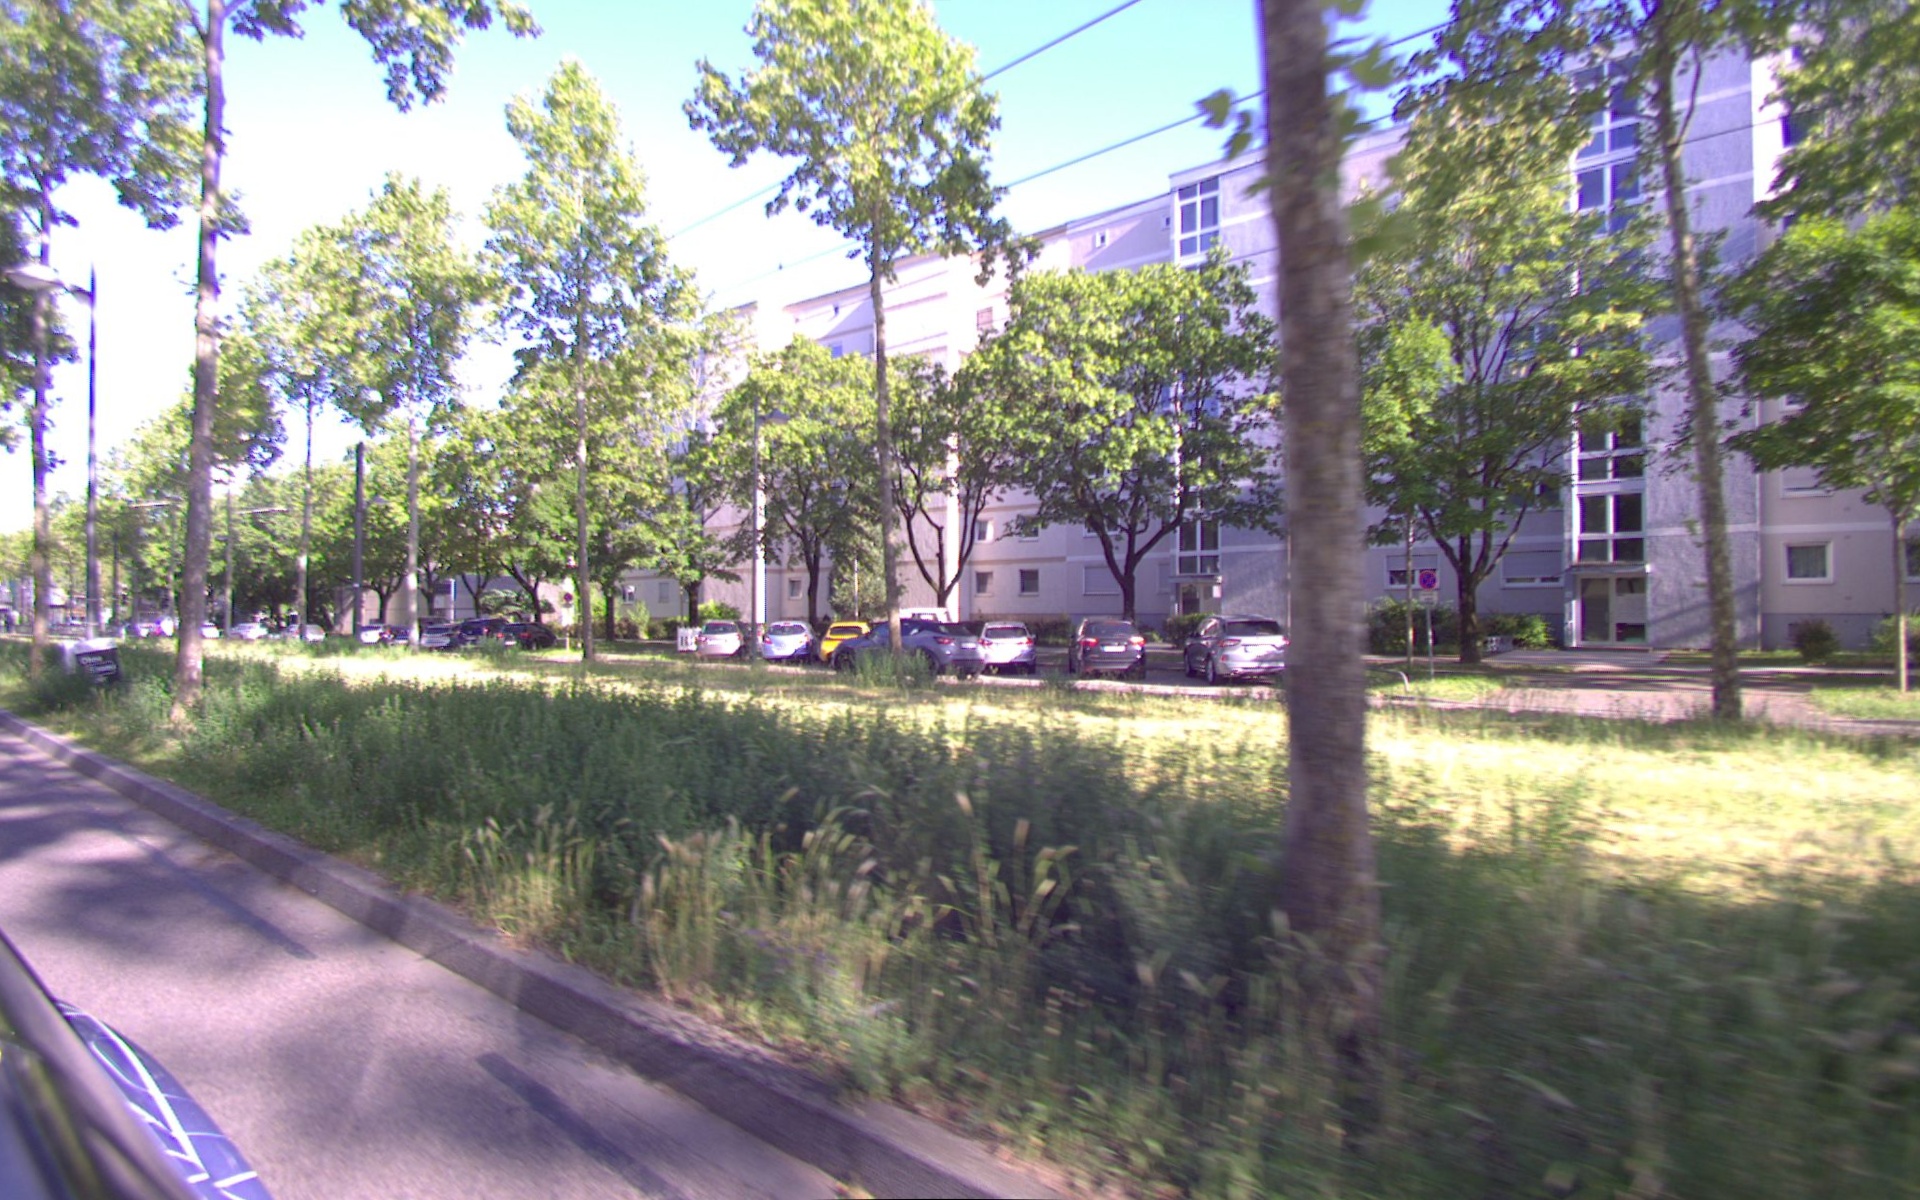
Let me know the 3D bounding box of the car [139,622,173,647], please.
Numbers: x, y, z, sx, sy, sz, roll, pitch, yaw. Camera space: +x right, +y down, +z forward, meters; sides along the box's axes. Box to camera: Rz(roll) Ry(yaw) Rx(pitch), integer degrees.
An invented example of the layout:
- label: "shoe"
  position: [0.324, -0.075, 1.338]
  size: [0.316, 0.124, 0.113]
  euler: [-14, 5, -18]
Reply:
- label: "car"
  position: [-73.829, 3.163, 92.870]
  size: [3.931, 2.279, 1.696]
  euler: [-2, -2, 41]

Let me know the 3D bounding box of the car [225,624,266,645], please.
- label: "car"
  position: [-55.326, 2.649, 78.328]
  size: [4.199, 1.557, 1.695]
  euler: [-2, -3, 42]

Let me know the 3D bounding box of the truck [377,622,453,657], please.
- label: "truck"
  position: [-30.272, 2.165, 56.347]
  size: [1.631, 1.788, 4.078]
  euler: [3, -1, 5]

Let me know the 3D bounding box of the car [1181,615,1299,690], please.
- label: "car"
  position: [6.676, 1.236, 24.559]
  size: [1.970, 1.619, 4.079]
  euler: [-2, -2, 5]

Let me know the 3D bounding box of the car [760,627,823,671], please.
- label: "car"
  position: [-5.964, 1.700, 36.184]
  size: [1.628, 1.494, 4.085]
  euler: [0, -2, -1]

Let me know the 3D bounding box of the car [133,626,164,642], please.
- label: "car"
  position: [-77.102, 3.209, 96.181]
  size: [4.017, 1.500, 1.577]
  euler: [-2, -2, 41]

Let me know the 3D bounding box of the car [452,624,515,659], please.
- label: "car"
  position: [-24.582, 2.157, 52.353]
  size: [1.626, 1.658, 4.089]
  euler: [-3, -2, -5]

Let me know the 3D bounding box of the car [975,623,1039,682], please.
- label: "car"
  position: [1.462, 1.498, 30.032]
  size: [1.560, 1.443, 4.077]
  euler: [-2, 0, 7]

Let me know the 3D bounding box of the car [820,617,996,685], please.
- label: "car"
  position: [-1.313, 1.238, 24.626]
  size: [4.082, 1.518, 1.904]
  euler: [-2, -4, 40]

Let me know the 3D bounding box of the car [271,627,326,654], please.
- label: "car"
  position: [-37.908, 2.288, 57.938]
  size: [3.847, 1.497, 1.629]
  euler: [-1, -2, 41]

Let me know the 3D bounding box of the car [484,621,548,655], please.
- label: "car"
  position: [-21.861, 1.868, 49.964]
  size: [1.626, 1.487, 4.090]
  euler: [-4, -1, -6]

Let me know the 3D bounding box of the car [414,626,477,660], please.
- label: "car"
  position: [-27.440, 2.267, 54.099]
  size: [1.626, 1.658, 4.090]
  euler: [1, -2, -6]

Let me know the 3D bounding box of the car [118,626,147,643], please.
- label: "car"
  position: [-82.494, 3.416, 100.840]
  size: [3.928, 1.648, 1.577]
  euler: [-2, -2, 41]

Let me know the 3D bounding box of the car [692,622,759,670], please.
- label: "car"
  position: [-8.701, 1.685, 37.869]
  size: [1.628, 1.658, 4.085]
  euler: [-1, -2, -1]

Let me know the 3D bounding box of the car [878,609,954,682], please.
- label: "car"
  position: [-1.263, 1.350, 31.125]
  size: [1.867, 2.022, 4.794]
  euler: [-2, -2, 3]

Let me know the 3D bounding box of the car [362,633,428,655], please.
- label: "car"
  position: [-33.349, 2.574, 59.842]
  size: [1.814, 1.256, 3.826]
  euler: [0, -2, -1]

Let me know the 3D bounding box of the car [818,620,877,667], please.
- label: "car"
  position: [-3.738, 1.444, 34.157]
  size: [1.557, 1.443, 4.085]
  euler: [1, -2, -1]

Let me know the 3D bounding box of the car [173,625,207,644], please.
- label: "car"
  position: [-65.057, 2.881, 85.458]
  size: [3.934, 1.557, 1.695]
  euler: [-2, -3, 44]

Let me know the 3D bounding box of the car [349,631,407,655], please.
- label: "car"
  position: [-35.594, 2.617, 61.969]
  size: [1.811, 1.446, 3.832]
  euler: [0, -2, -8]

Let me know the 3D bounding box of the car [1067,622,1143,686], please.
- label: "car"
  position: [3.813, 1.389, 27.005]
  size: [1.796, 1.542, 4.076]
  euler: [-2, -2, 7]
